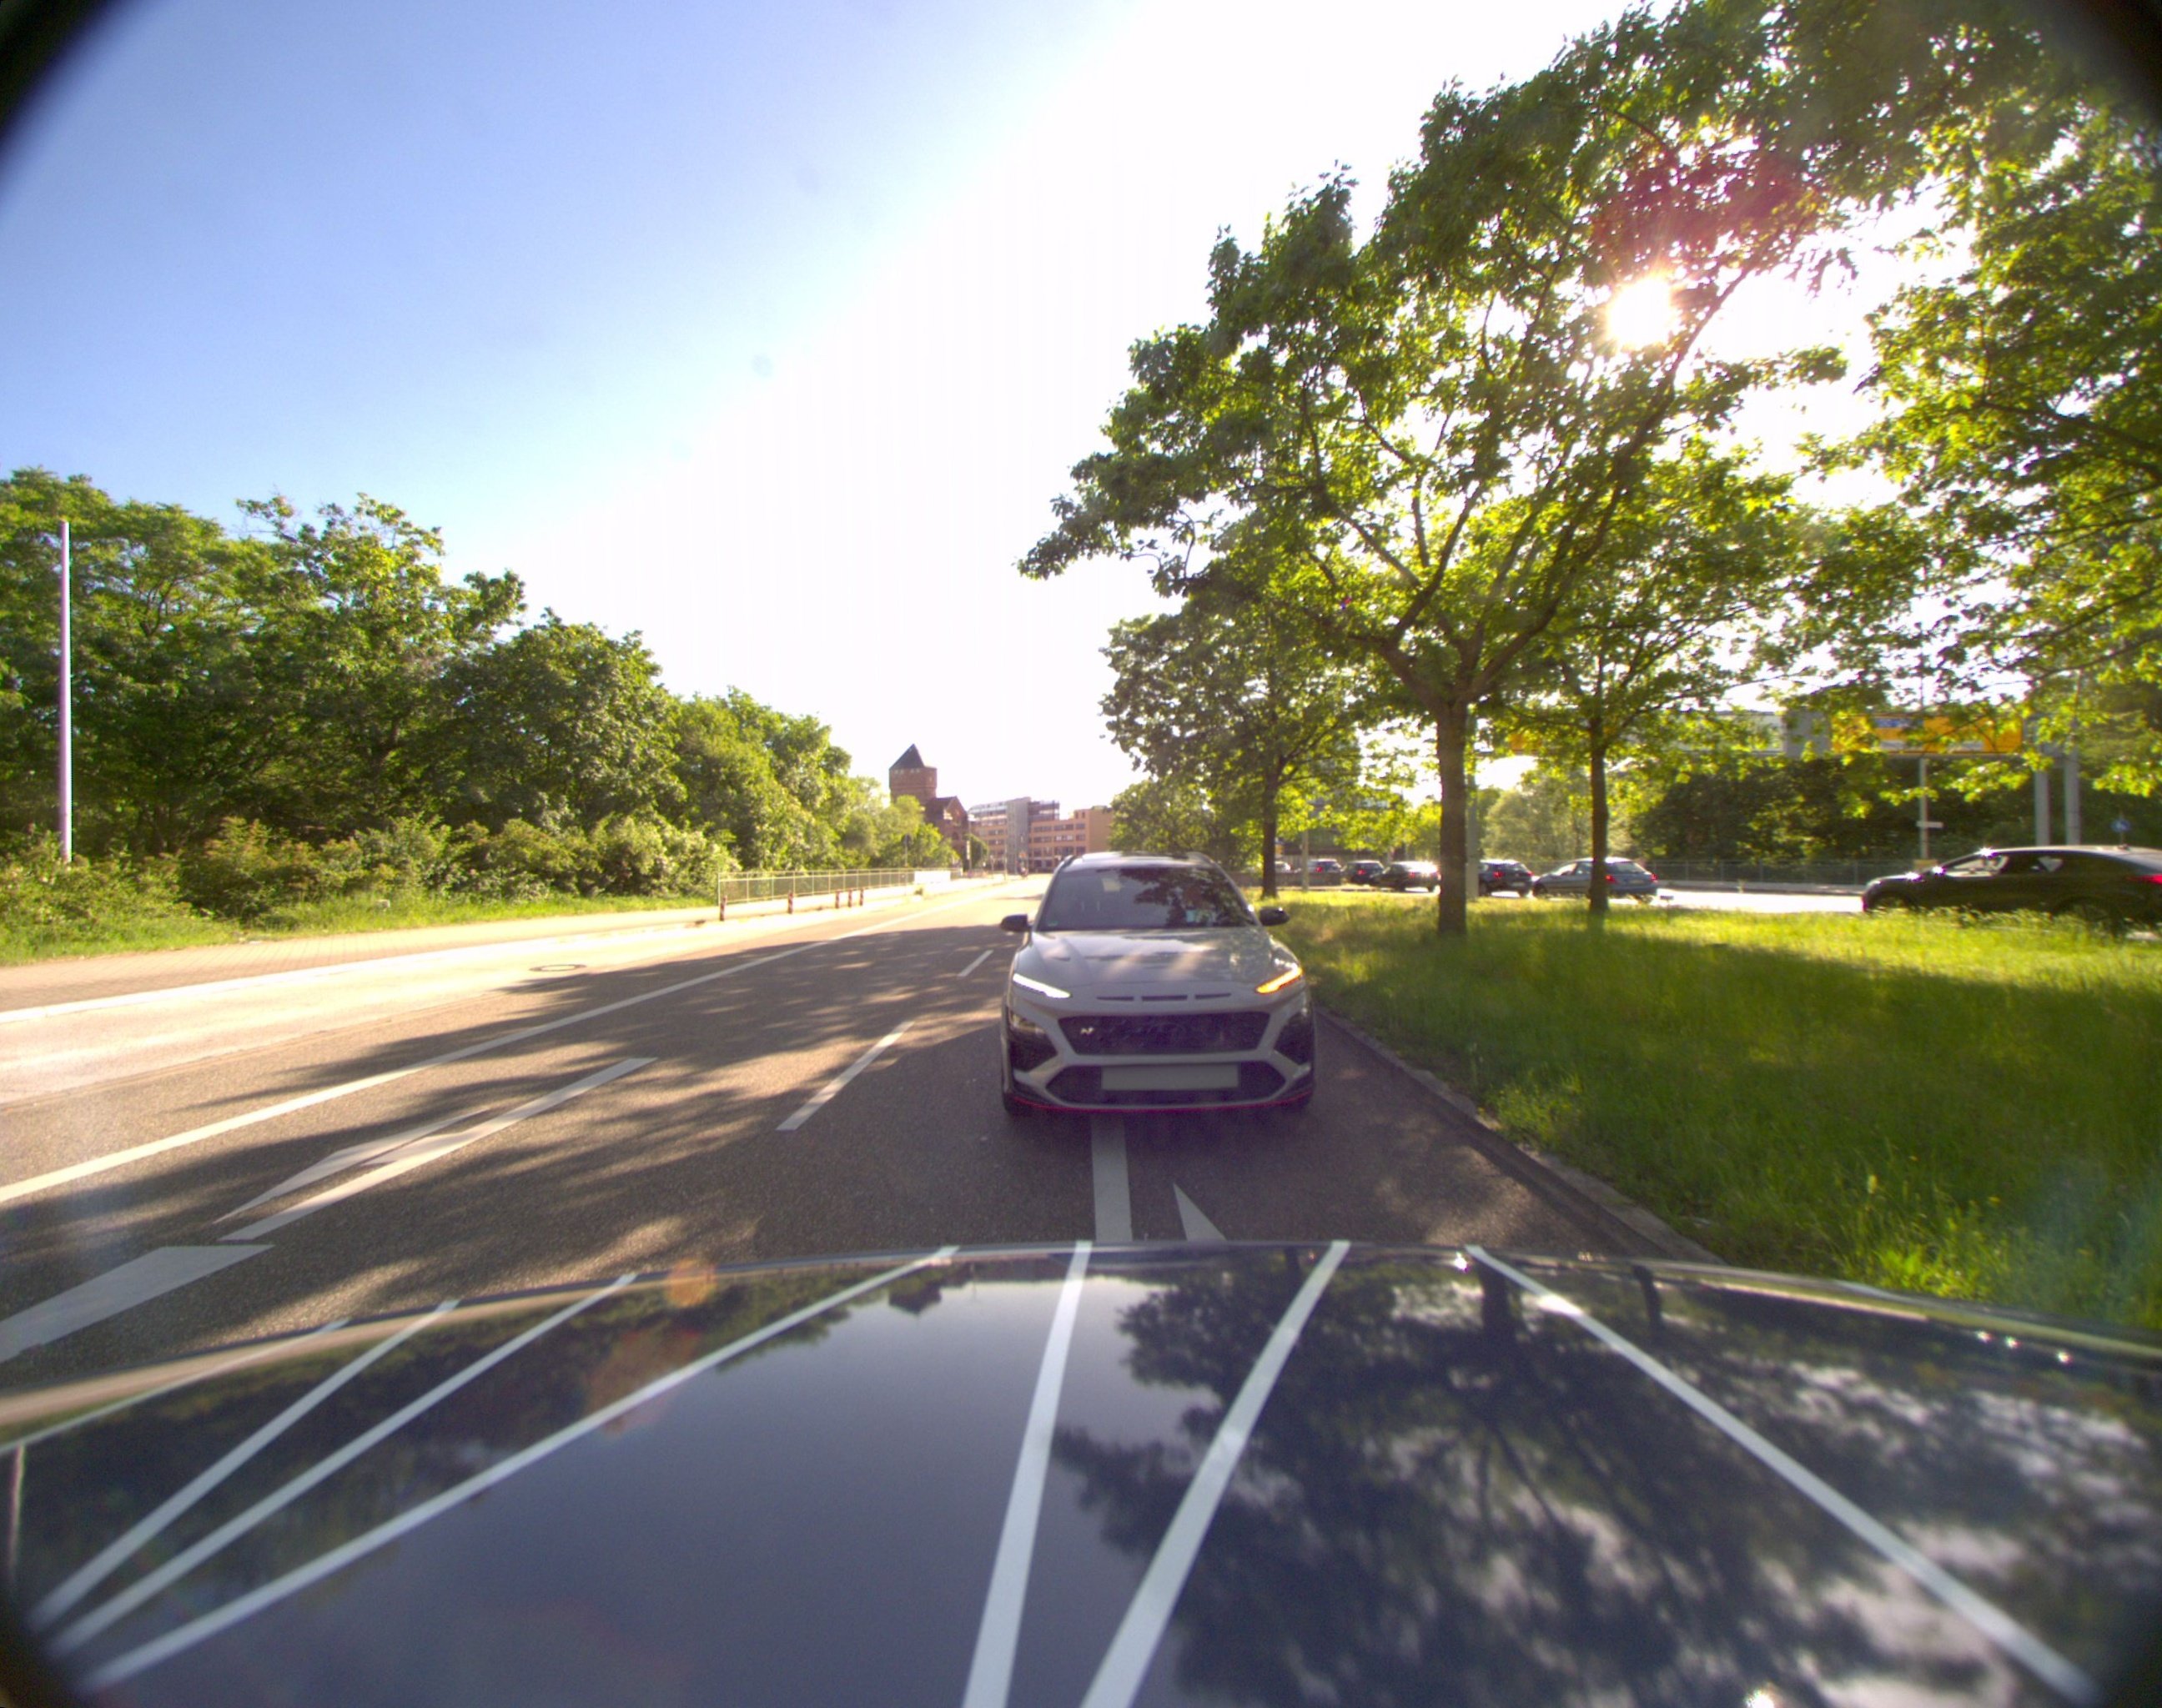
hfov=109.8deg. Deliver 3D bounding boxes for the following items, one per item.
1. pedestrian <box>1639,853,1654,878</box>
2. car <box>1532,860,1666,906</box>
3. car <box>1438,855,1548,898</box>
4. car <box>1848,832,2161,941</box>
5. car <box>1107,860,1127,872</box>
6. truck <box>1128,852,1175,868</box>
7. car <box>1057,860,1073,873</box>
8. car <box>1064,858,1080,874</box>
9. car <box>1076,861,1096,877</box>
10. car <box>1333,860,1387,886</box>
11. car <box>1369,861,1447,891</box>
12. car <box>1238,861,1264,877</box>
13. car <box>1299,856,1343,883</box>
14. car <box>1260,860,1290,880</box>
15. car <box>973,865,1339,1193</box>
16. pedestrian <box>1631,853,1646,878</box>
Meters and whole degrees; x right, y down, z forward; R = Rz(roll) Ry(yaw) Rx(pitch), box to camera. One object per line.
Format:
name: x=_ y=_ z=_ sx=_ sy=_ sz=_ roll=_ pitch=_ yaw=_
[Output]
pedestrian: x=33.805 y=0.681 z=45.434 sx=0.421 sy=1.490 sz=0.545 roll=-1 pitch=0 yaw=-7
car: x=16.389 y=0.881 z=24.277 sx=1.561 sy=1.355 sz=3.608 roll=-1 pitch=-1 yaw=-6
car: x=16.190 y=0.845 z=30.141 sx=1.875 sy=1.541 sz=4.221 roll=-1 pitch=0 yaw=-4
car: x=17.019 y=0.483 z=13.638 sx=1.831 sy=1.638 sz=4.459 roll=-1 pitch=0 yaw=-4
car: x=6.220 y=1.995 z=130.064 sx=1.995 sy=2.002 sz=4.007 roll=-1 pitch=0 yaw=25
truck: x=14.388 y=1.208 z=155.603 sx=9.148 sy=3.231 sz=3.532 roll=-1 pitch=0 yaw=13
car: x=-1.756 y=1.419 z=86.704 sx=1.677 sy=1.463 sz=4.151 roll=-1 pitch=0 yaw=1
car: x=-1.200 y=1.587 z=101.857 sx=1.959 sy=2.002 sz=4.000 roll=-1 pitch=0 yaw=1
car: x=0.490 y=1.434 z=74.420 sx=1.892 sy=1.420 sz=4.387 roll=-1 pitch=0 yaw=1
car: x=15.155 y=1.032 z=41.470 sx=1.481 sy=1.331 sz=3.202 roll=-1 pitch=-1 yaw=-6
car: x=15.479 y=0.997 z=36.214 sx=1.623 sy=1.305 sz=4.066 roll=-1 pitch=0 yaw=-6
car: x=13.938 y=1.280 z=62.424 sx=1.199 sy=1.252 sz=2.768 roll=-1 pitch=-2 yaw=-6
car: x=14.974 y=0.992 z=47.545 sx=1.450 sy=1.549 sz=3.202 roll=-1 pitch=-2 yaw=-6
car: x=14.323 y=1.208 z=56.150 sx=1.228 sy=1.331 sz=2.882 roll=-1 pitch=-3 yaw=-6
car: x=0.390 y=0.882 z=5.680 sx=1.752 sy=1.523 sz=3.988 roll=-1 pitch=0 yaw=1
pedestrian: x=33.325 y=0.694 z=45.424 sx=0.421 sy=1.490 sz=0.545 roll=-1 pitch=0 yaw=-7
